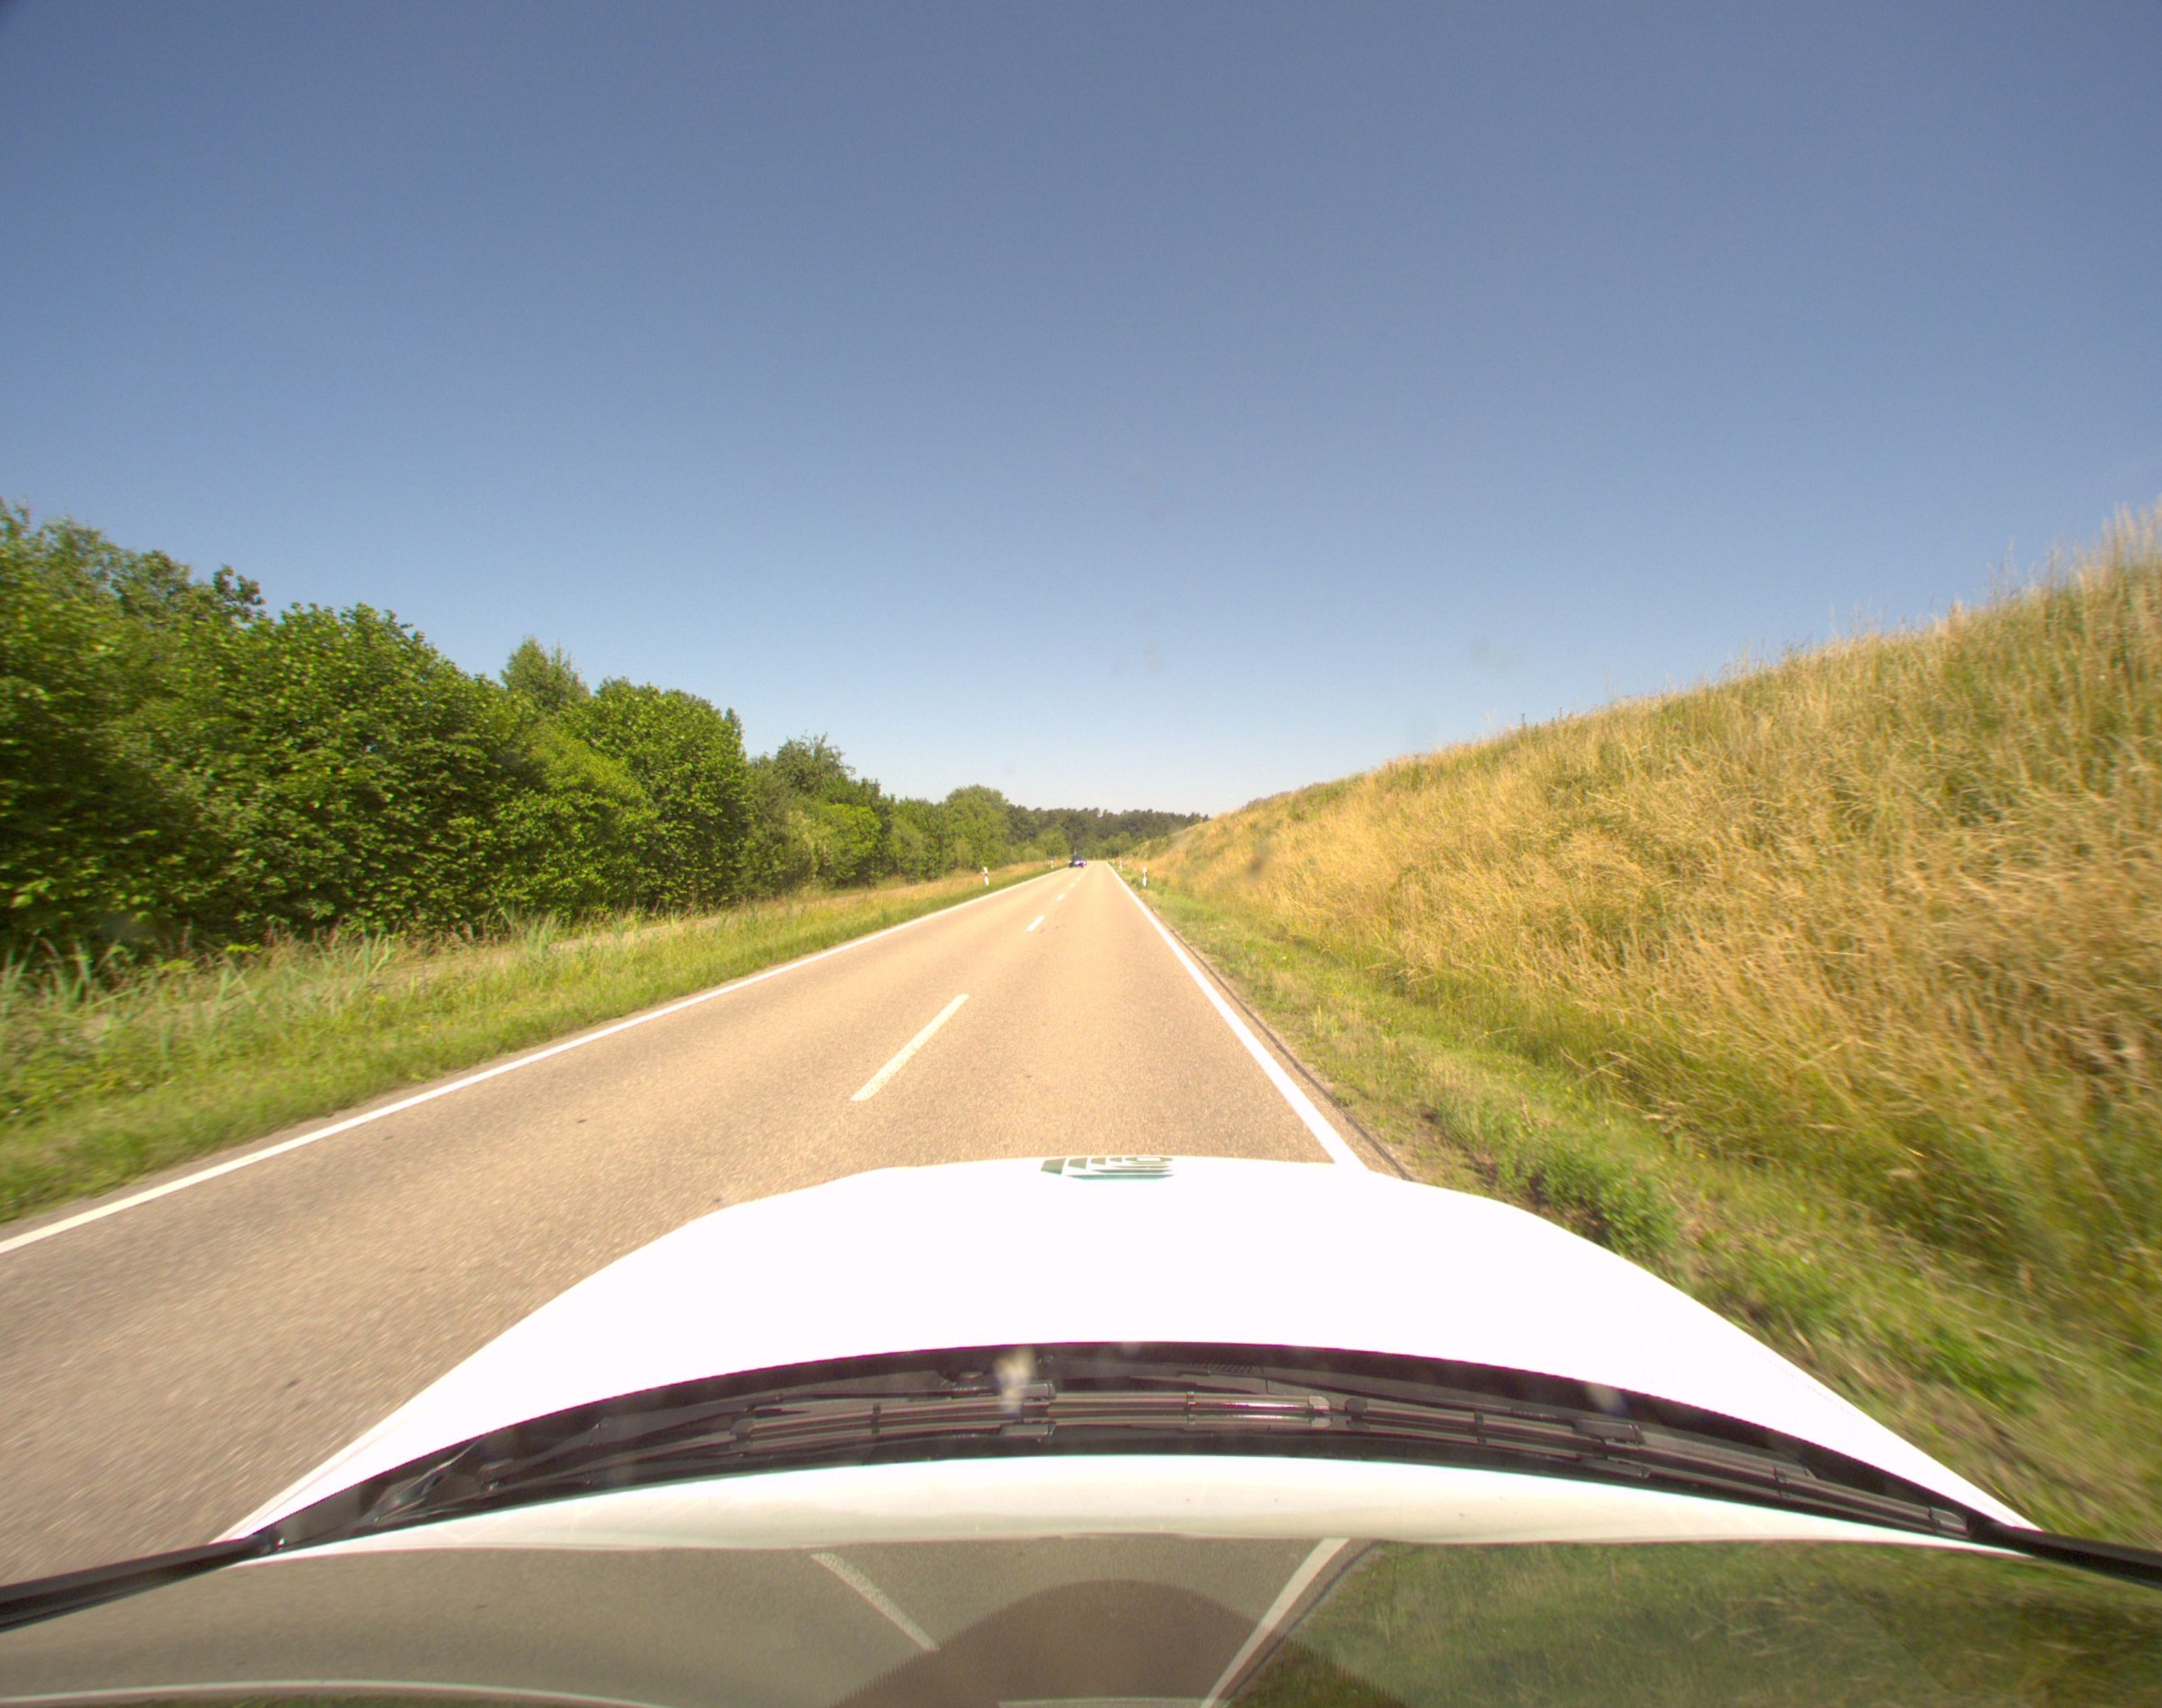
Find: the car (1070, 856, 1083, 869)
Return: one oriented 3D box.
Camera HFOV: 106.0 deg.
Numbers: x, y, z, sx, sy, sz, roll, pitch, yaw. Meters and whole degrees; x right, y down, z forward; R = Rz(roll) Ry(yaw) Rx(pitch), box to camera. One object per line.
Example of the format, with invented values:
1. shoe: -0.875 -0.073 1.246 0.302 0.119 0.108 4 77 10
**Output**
1. car: -0.569 1.069 106.653 1.710 1.647 3.915 0 0 1
